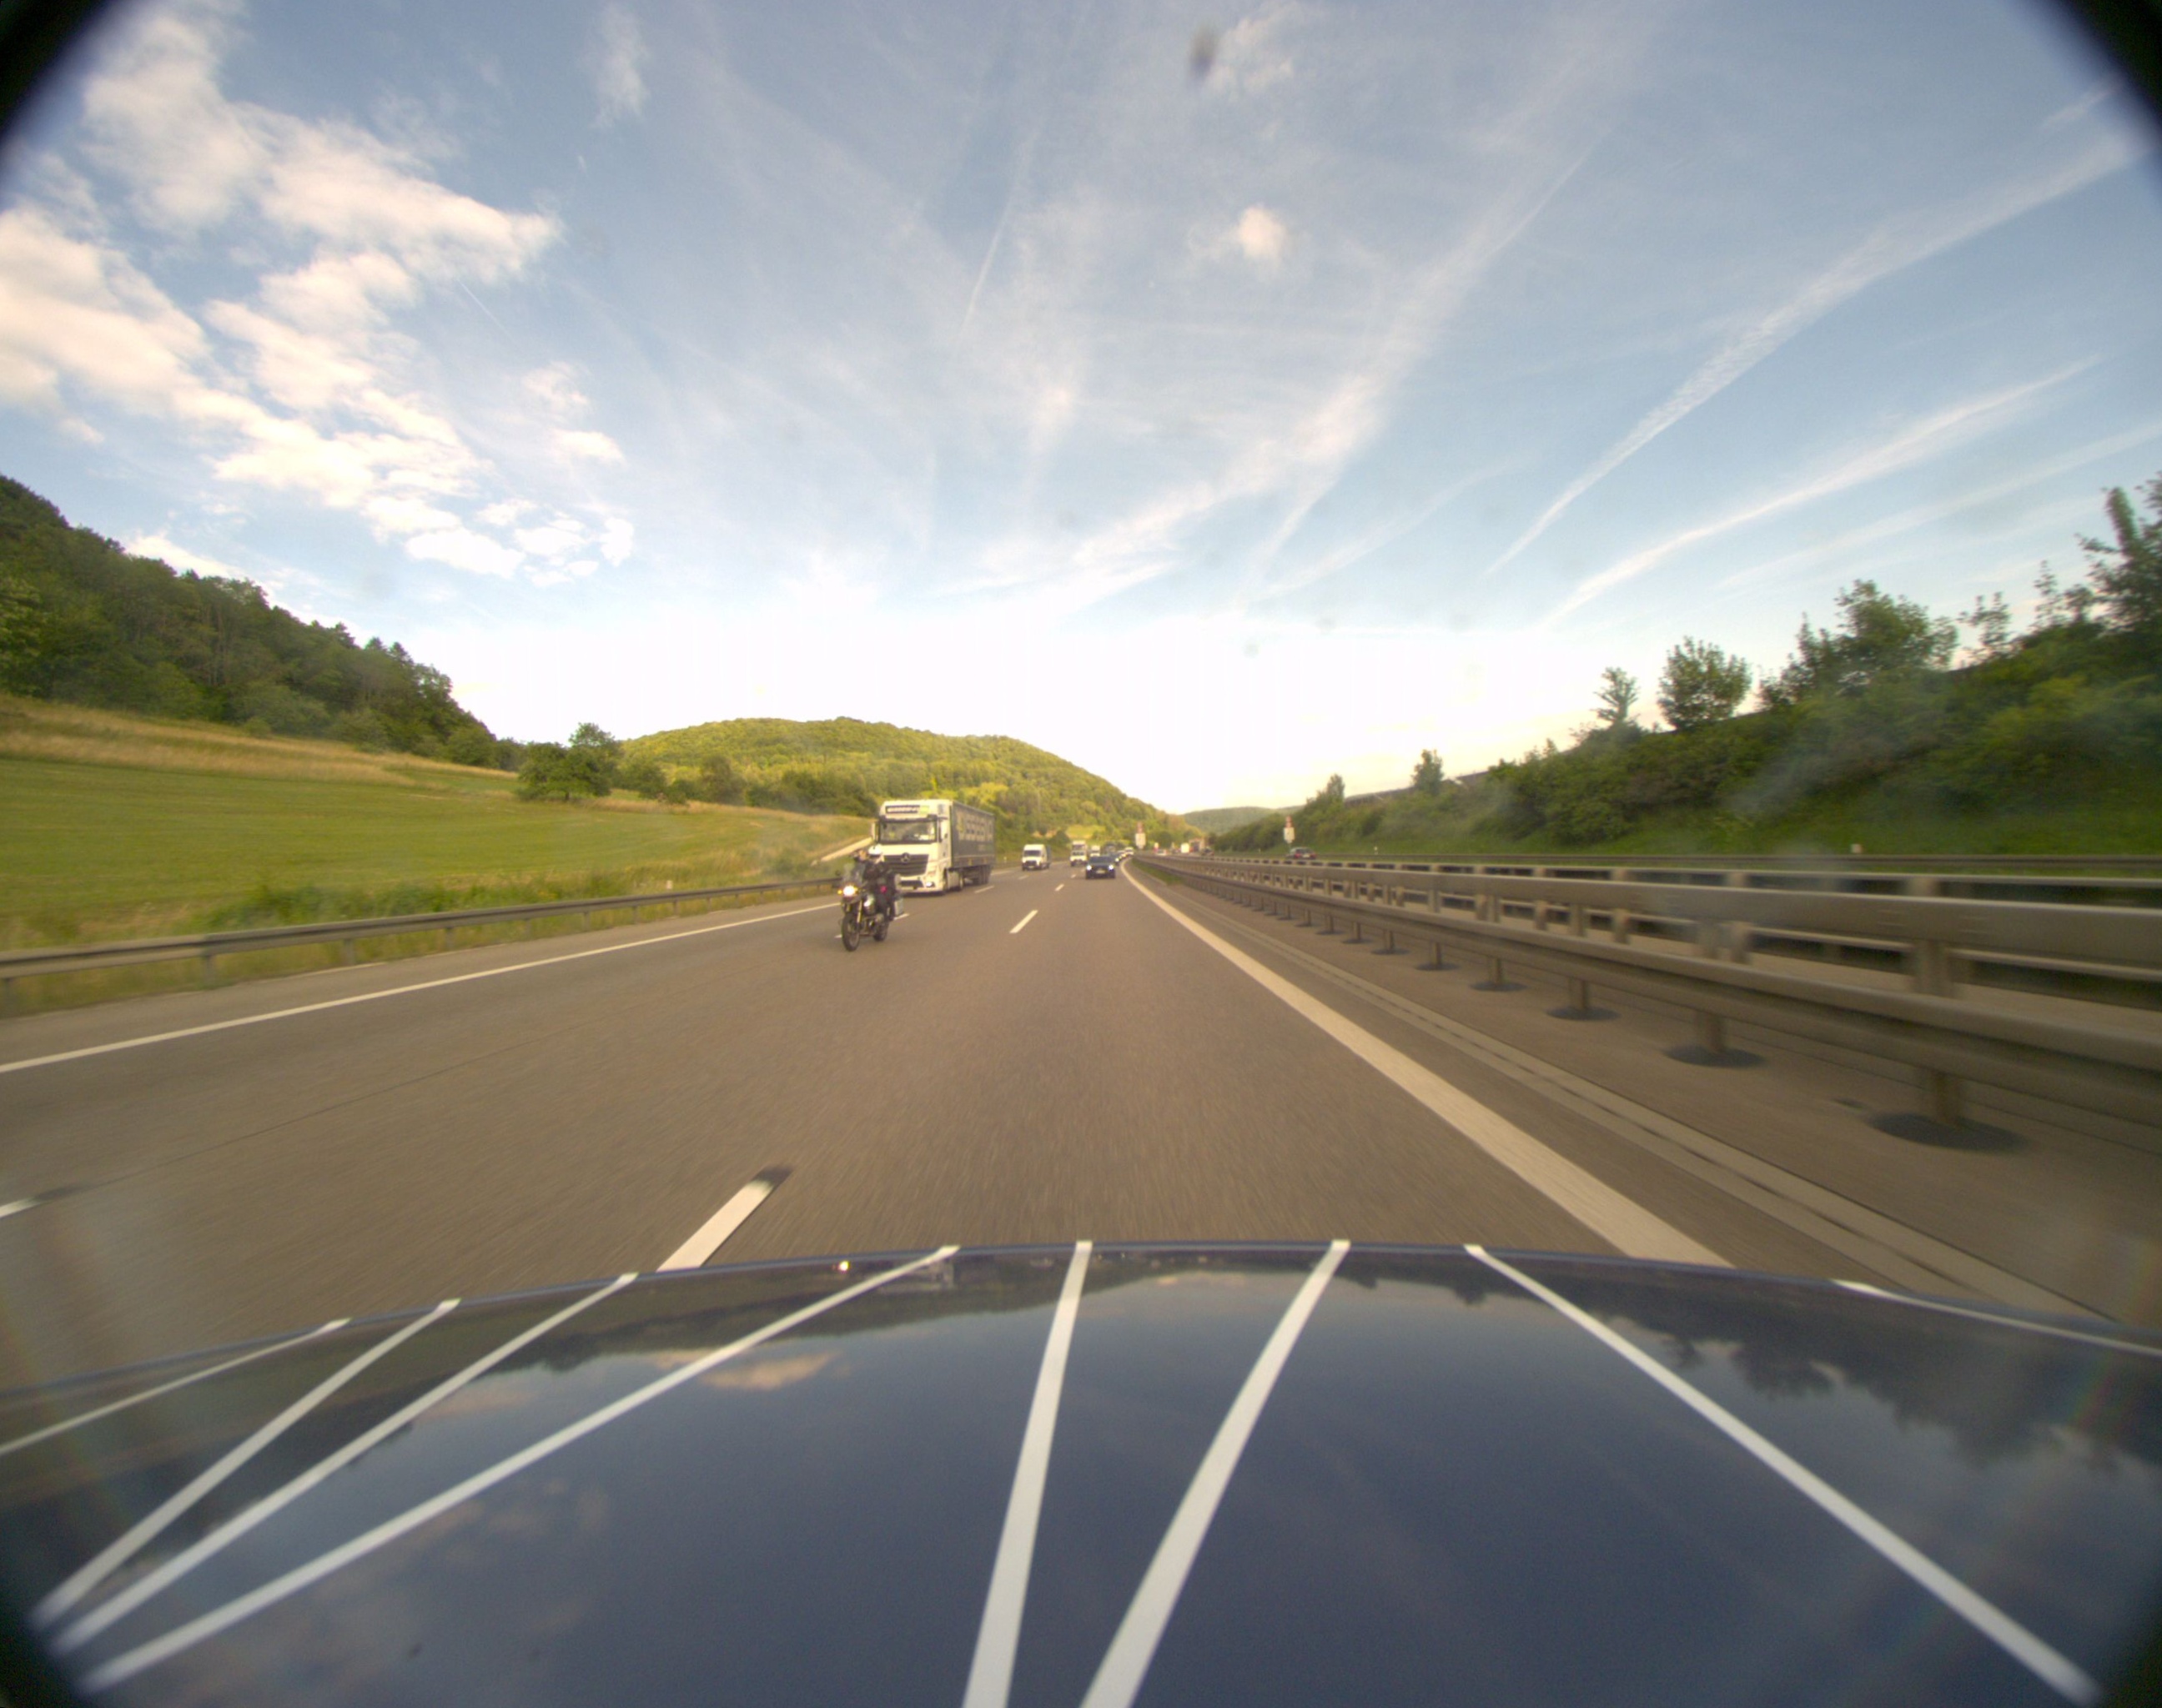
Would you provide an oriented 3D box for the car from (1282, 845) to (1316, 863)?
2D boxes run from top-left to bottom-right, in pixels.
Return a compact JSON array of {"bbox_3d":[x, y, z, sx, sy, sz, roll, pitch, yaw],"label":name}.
[{"bbox_3d":[17.958,0.015,62.795,1.710,1.407,4.000,-2,0,1],"label":"car"}]

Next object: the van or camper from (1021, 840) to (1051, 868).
[{"bbox_3d":[-4.540,0.036,78.188,1.998,2.701,7.525,-1,0,5],"label":"van or camper"}]

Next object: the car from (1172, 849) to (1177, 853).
[{"bbox_3d":[32.665,-1.068,265.183,1.647,1.646,4.346,-2,0,5],"label":"car"}]

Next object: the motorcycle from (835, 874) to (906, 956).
[{"bbox_3d":[-3.773,1.058,13.749,0.628,1.331,1.740,-1,0,5],"label":"motorcycle"}]

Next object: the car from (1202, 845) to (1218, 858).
[{"bbox_3d":[21.566,-0.457,127.541,1.967,2.028,5.019,-2,1,2],"label":"car"}]

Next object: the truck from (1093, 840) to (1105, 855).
[{"bbox_3d":[4.538,-1.661,187.335,2.708,3.627,9.034,-1,0,2],"label":"truck"}]

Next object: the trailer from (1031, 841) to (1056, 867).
[{"bbox_3d":[-4.070,0.024,84.006,1.998,2.710,5.250,-2,0,5],"label":"trailer"}]

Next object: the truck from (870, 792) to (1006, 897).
[{"bbox_3d":[-6.360,-0.403,37.984,2.971,3.969,17.732,-1,0,1],"label":"truck"}]

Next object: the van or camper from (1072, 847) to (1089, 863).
[{"bbox_3d":[-0.023,0.083,91.907,1.998,1.881,4.487,-1,0,0],"label":"van or camper"}]

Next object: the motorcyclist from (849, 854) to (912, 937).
[{"bbox_3d":[-3.804,0.767,14.483,0.878,1.506,0.798,-2,1,7],"label":"motorcyclist"}]

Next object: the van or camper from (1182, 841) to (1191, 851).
[{"bbox_3d":[35.728,-2.685,256.454,2.487,3.531,7.979,-2,0,5],"label":"van or camper"}]

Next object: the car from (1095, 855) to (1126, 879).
[{"bbox_3d":[1.851,0.780,46.949,1.580,1.310,4.002,-1,0,6],"label":"car"}]

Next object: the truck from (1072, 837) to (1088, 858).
[{"bbox_3d":[-0.139,-1.211,151.674,2.925,3.876,13.010,-1,0,1],"label":"truck"}]

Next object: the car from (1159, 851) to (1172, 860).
[{"bbox_3d":[15.622,0.210,140.879,1.837,1.582,5.019,-2,0,2],"label":"car"}]

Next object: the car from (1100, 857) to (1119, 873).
[{"bbox_3d":[3.341,1.293,89.320,1.999,1.870,4.000,0,0,-1],"label":"car"}]
